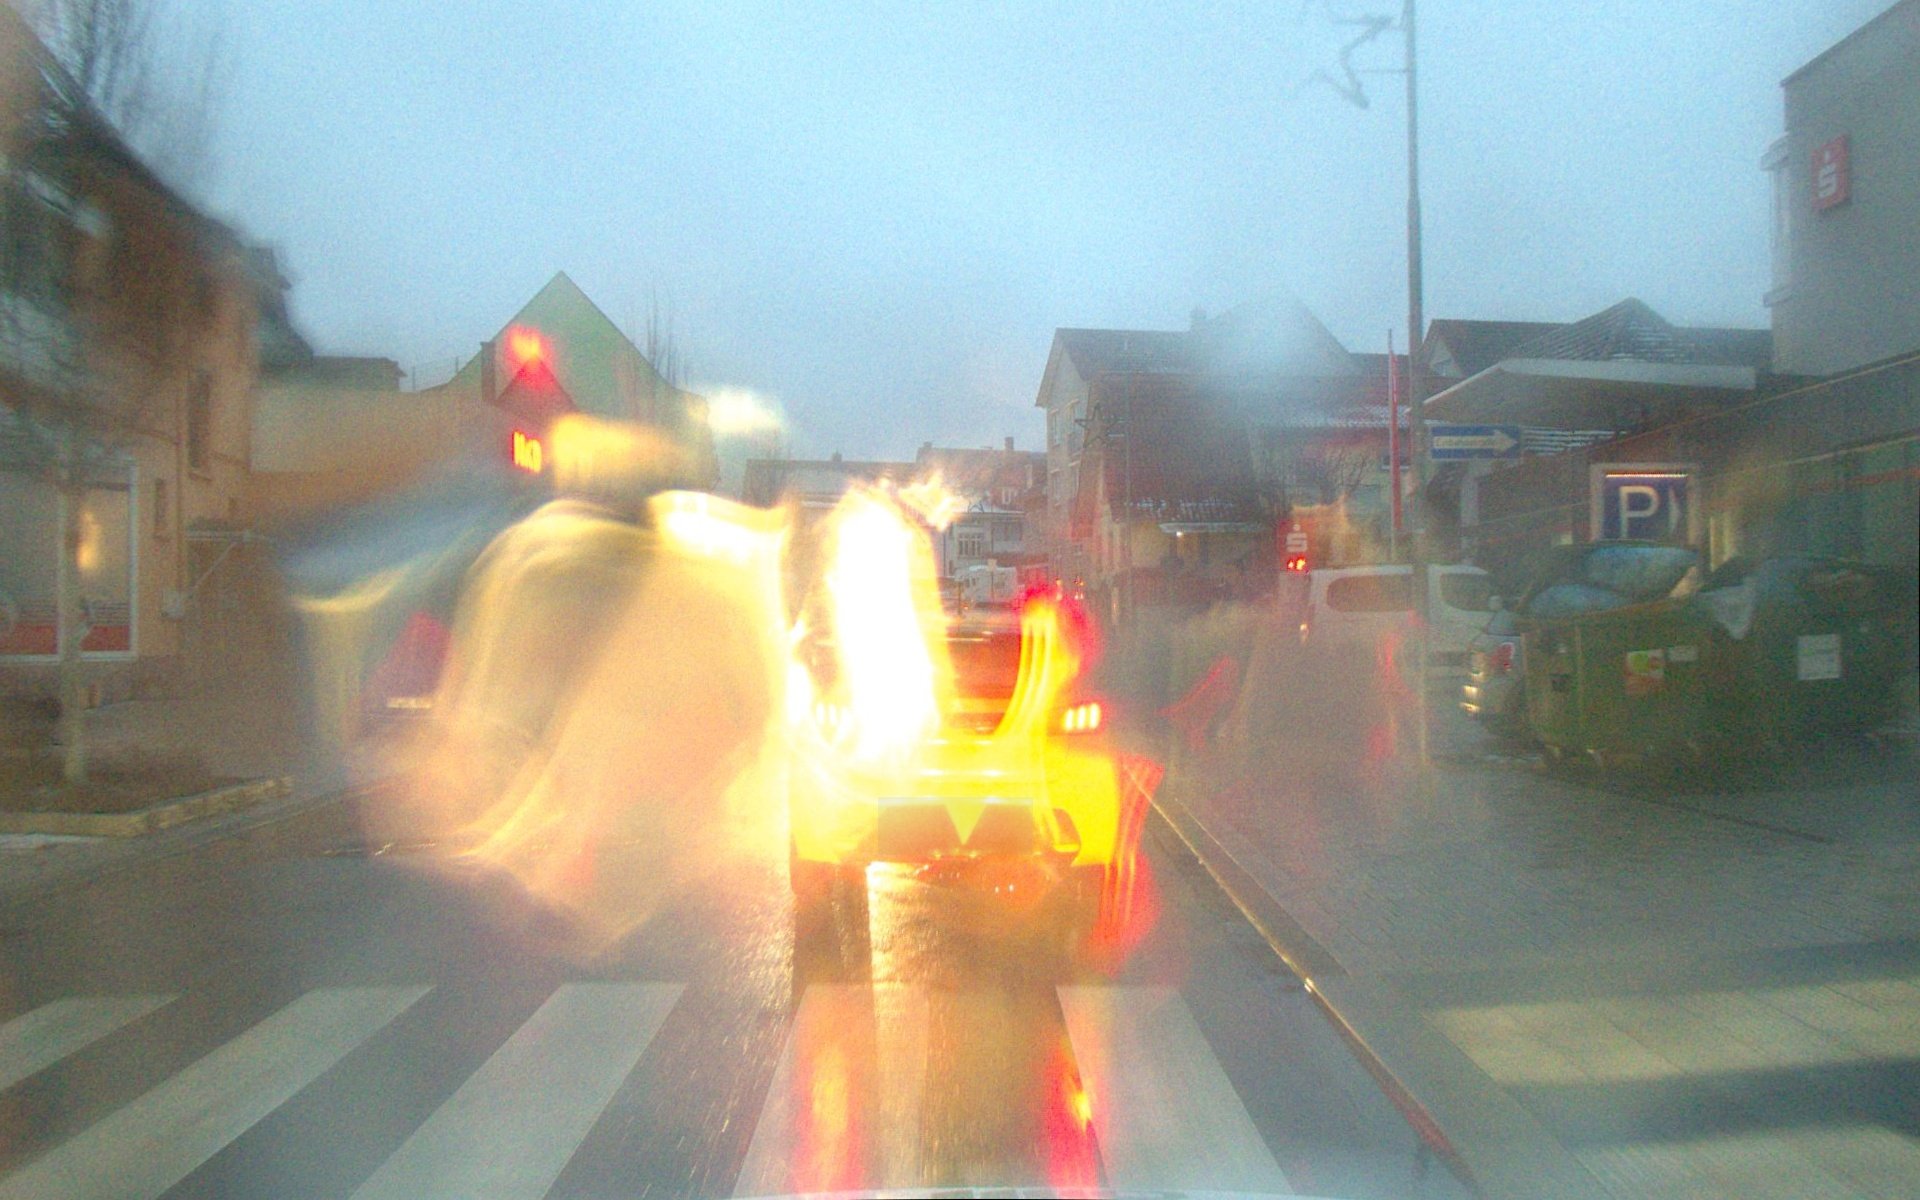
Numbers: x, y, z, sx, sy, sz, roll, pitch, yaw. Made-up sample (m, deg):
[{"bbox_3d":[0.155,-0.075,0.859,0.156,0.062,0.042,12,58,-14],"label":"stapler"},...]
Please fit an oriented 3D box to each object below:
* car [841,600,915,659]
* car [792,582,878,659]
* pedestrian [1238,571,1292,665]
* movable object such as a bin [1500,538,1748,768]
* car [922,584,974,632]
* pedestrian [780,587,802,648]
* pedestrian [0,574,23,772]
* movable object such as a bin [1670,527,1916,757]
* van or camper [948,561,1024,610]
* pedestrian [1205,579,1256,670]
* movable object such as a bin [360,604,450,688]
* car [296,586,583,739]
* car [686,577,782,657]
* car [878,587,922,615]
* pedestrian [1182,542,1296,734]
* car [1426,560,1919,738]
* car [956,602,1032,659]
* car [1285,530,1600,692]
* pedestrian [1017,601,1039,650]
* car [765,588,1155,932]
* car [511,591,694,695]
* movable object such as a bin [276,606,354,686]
[{"bbox_3d":[-2.715,0.919,53.867,1.916,1.573,4.407,-2,3,-9],"label":"car"},{"bbox_3d":[-3.129,0.464,42.289,1.953,1.735,4.965,2,1,-2],"label":"car"},{"bbox_3d":[5.800,0.335,31.468,0.690,1.735,0.913,-2,0,-9],"label":"pedestrian"},{"bbox_3d":[5.205,0.391,13.078,1.365,1.672,1.261,-2,0,-3],"label":"movable object such as a bin"},{"bbox_3d":[-0.516,0.325,68.165,1.953,1.890,3.998,1,0,-3],"label":"car"},{"bbox_3d":[-4.514,0.463,44.112,0.563,1.613,0.529,0,1,-5],"label":"pedestrian"},{"bbox_3d":[-8.524,0.611,13.828,0.811,1.687,1.095,1,0,-8],"label":"pedestrian"},{"bbox_3d":[6.541,0.313,13.067,1.260,1.672,1.184,-3,0,-3],"label":"movable object such as a bin"},{"bbox_3d":[1.734,-0.949,113.382,2.615,3.100,6.687,-4,1,-23],"label":"van or camper"},{"bbox_3d":[5.307,0.469,32.492,0.825,1.735,0.839,-2,0,2],"label":"pedestrian"},{"bbox_3d":[-9.772,0.796,29.160,1.316,1.377,0.887,-3,0,-10],"label":"movable object such as a bin"},{"bbox_3d":[-6.042,0.664,19.844,1.953,1.585,4.620,1,0,0],"label":"car"},{"bbox_3d":[-5.458,0.377,40.476,2.045,1.823,5.019,0,0,-5],"label":"car"},{"bbox_3d":[-4.102,0.071,112.157,1.962,1.796,4.330,-2,1,-17],"label":"car"},{"bbox_3d":[2.879,0.383,17.180,0.947,1.922,1.005,1,0,-3],"label":"pedestrian"},{"bbox_3d":[6.613,0.453,15.605,3.904,1.512,1.913,-1,-1,2],"label":"car"},{"bbox_3d":[0.960,0.874,49.469,1.954,1.616,3.997,1,0,-3],"label":"car"},{"bbox_3d":[6.785,0.160,23.668,4.004,2.085,2.002,-2,0,8],"label":"car"},{"bbox_3d":[2.524,0.933,61.365,0.730,1.759,0.872,0,1,-4],"label":"pedestrian"},{"bbox_3d":[-0.035,0.746,9.638,1.777,1.560,3.999,1,0,-1],"label":"car"},{"bbox_3d":[-5.759,0.650,27.287,1.953,1.549,4.977,0,0,0],"label":"car"},{"bbox_3d":[-11.270,0.796,28.937,1.129,1.378,0.849,0,0,-11],"label":"movable object such as a bin"}]
